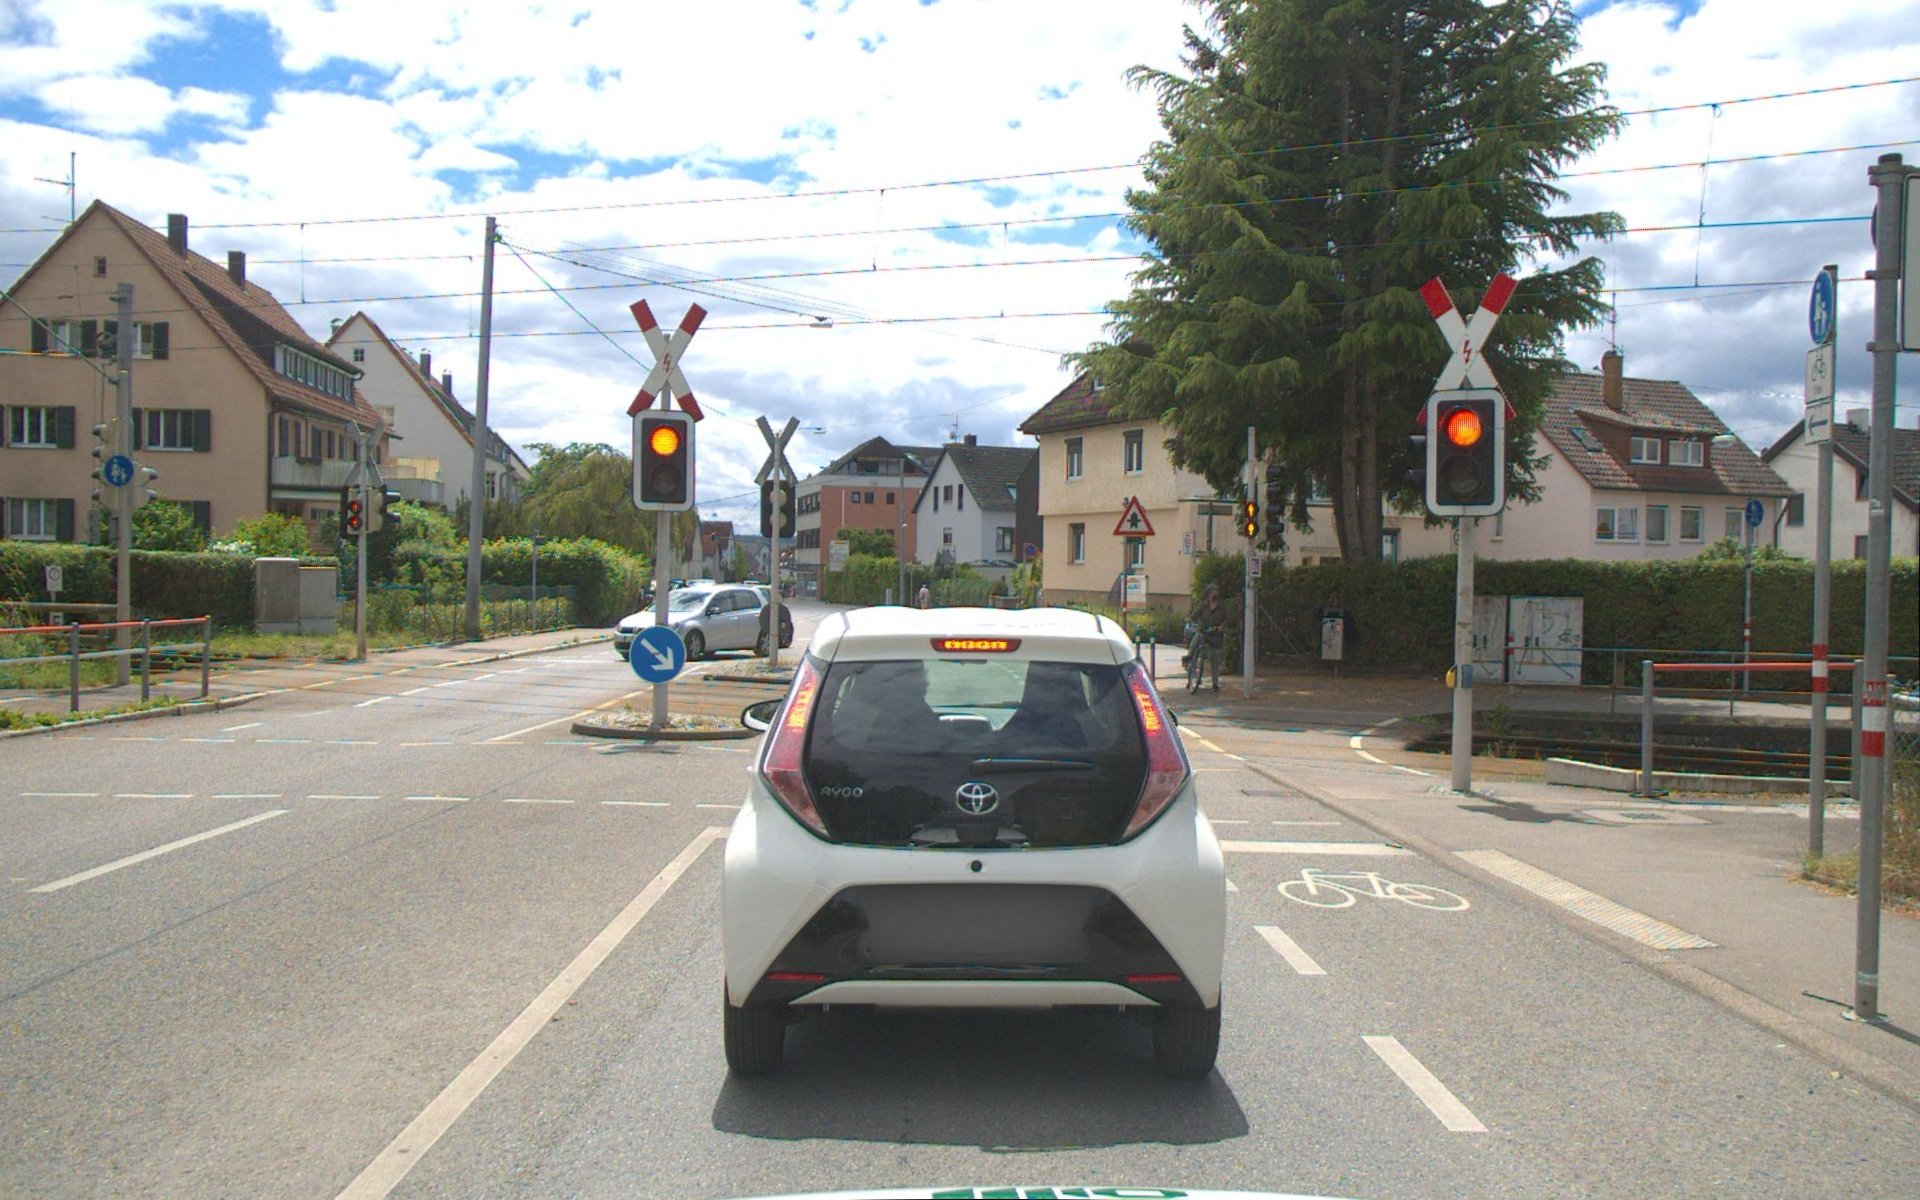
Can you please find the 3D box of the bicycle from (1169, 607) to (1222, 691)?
[{"bbox_3d":[3.728,0.759,26.251,0.448,1.192,1.477,-2,3,-6],"label":"bicycle"}]

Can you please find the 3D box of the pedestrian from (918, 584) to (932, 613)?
[{"bbox_3d":[-1.952,-0.071,91.652,0.711,1.604,0.803,2,0,-1],"label":"pedestrian"}]

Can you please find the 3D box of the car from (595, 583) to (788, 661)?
[{"bbox_3d":[-5.512,0.457,34.445,1.868,1.466,4.093,2,0,27],"label":"car"}]

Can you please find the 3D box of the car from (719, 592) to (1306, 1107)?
[{"bbox_3d":[0.034,0.716,6.630,1.687,1.467,3.705,1,0,-4],"label":"car"}]

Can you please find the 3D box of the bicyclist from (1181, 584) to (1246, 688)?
[{"bbox_3d":[4.016,0.557,26.219,0.825,1.580,0.755,-2,3,-7],"label":"bicyclist"}]
